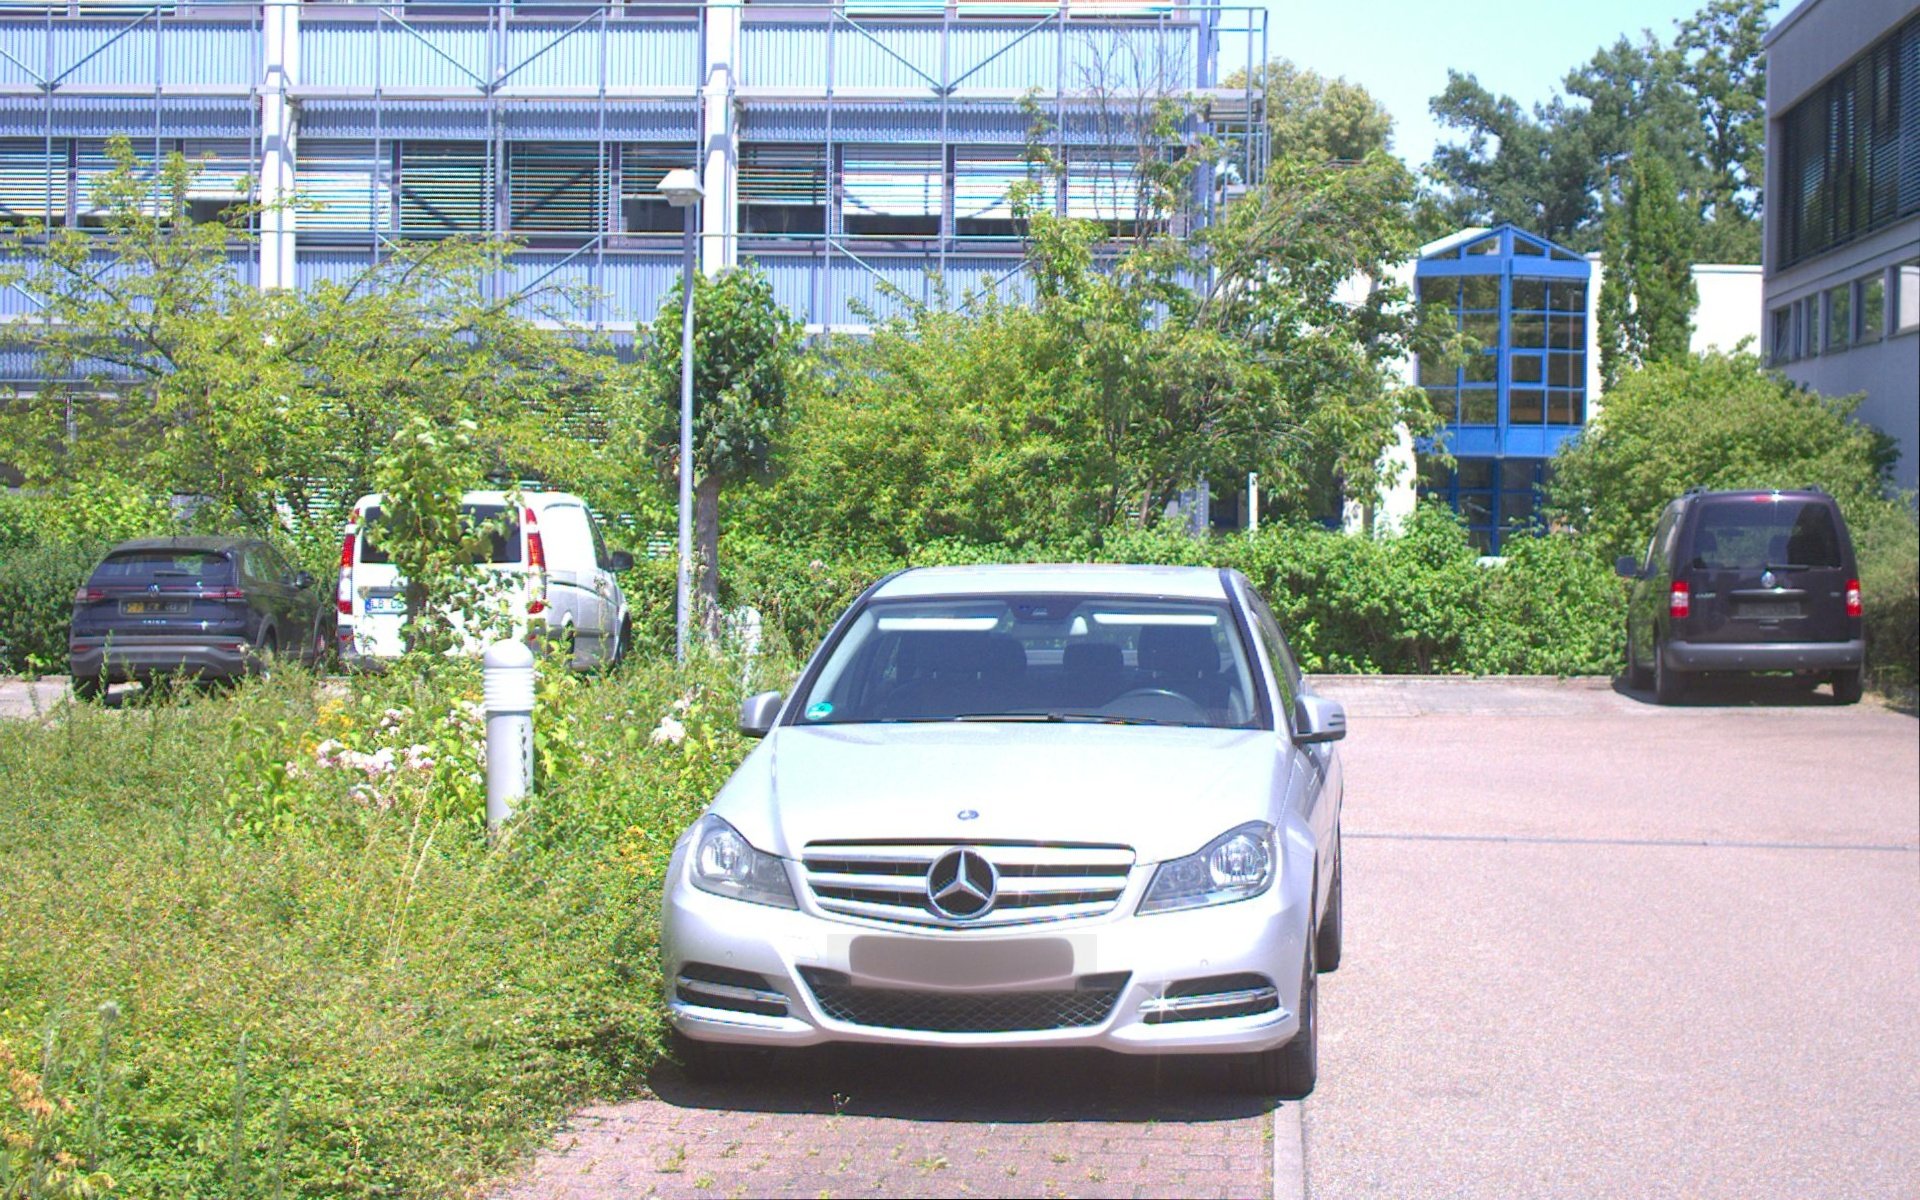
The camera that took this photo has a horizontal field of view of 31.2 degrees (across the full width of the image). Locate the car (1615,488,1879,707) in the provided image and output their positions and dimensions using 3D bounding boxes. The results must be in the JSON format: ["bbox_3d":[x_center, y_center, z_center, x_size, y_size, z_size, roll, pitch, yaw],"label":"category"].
[{"bbox_3d":[6.979,-0.073,30.830,1.743,1.830,4.000,0,2,5],"label":"car"}]

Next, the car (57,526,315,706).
[{"bbox_3d":[-7.083,0.094,31.810,1.754,1.471,4.001,-1,2,-4],"label":"car"}]

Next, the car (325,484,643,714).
[{"bbox_3d":[-4.194,-0.084,31.108,1.913,1.898,4.808,0,2,4],"label":"car"}]

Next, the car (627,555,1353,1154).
[{"bbox_3d":[0.298,0.602,10.624,1.729,1.452,4.146,0,1,8],"label":"car"}]
